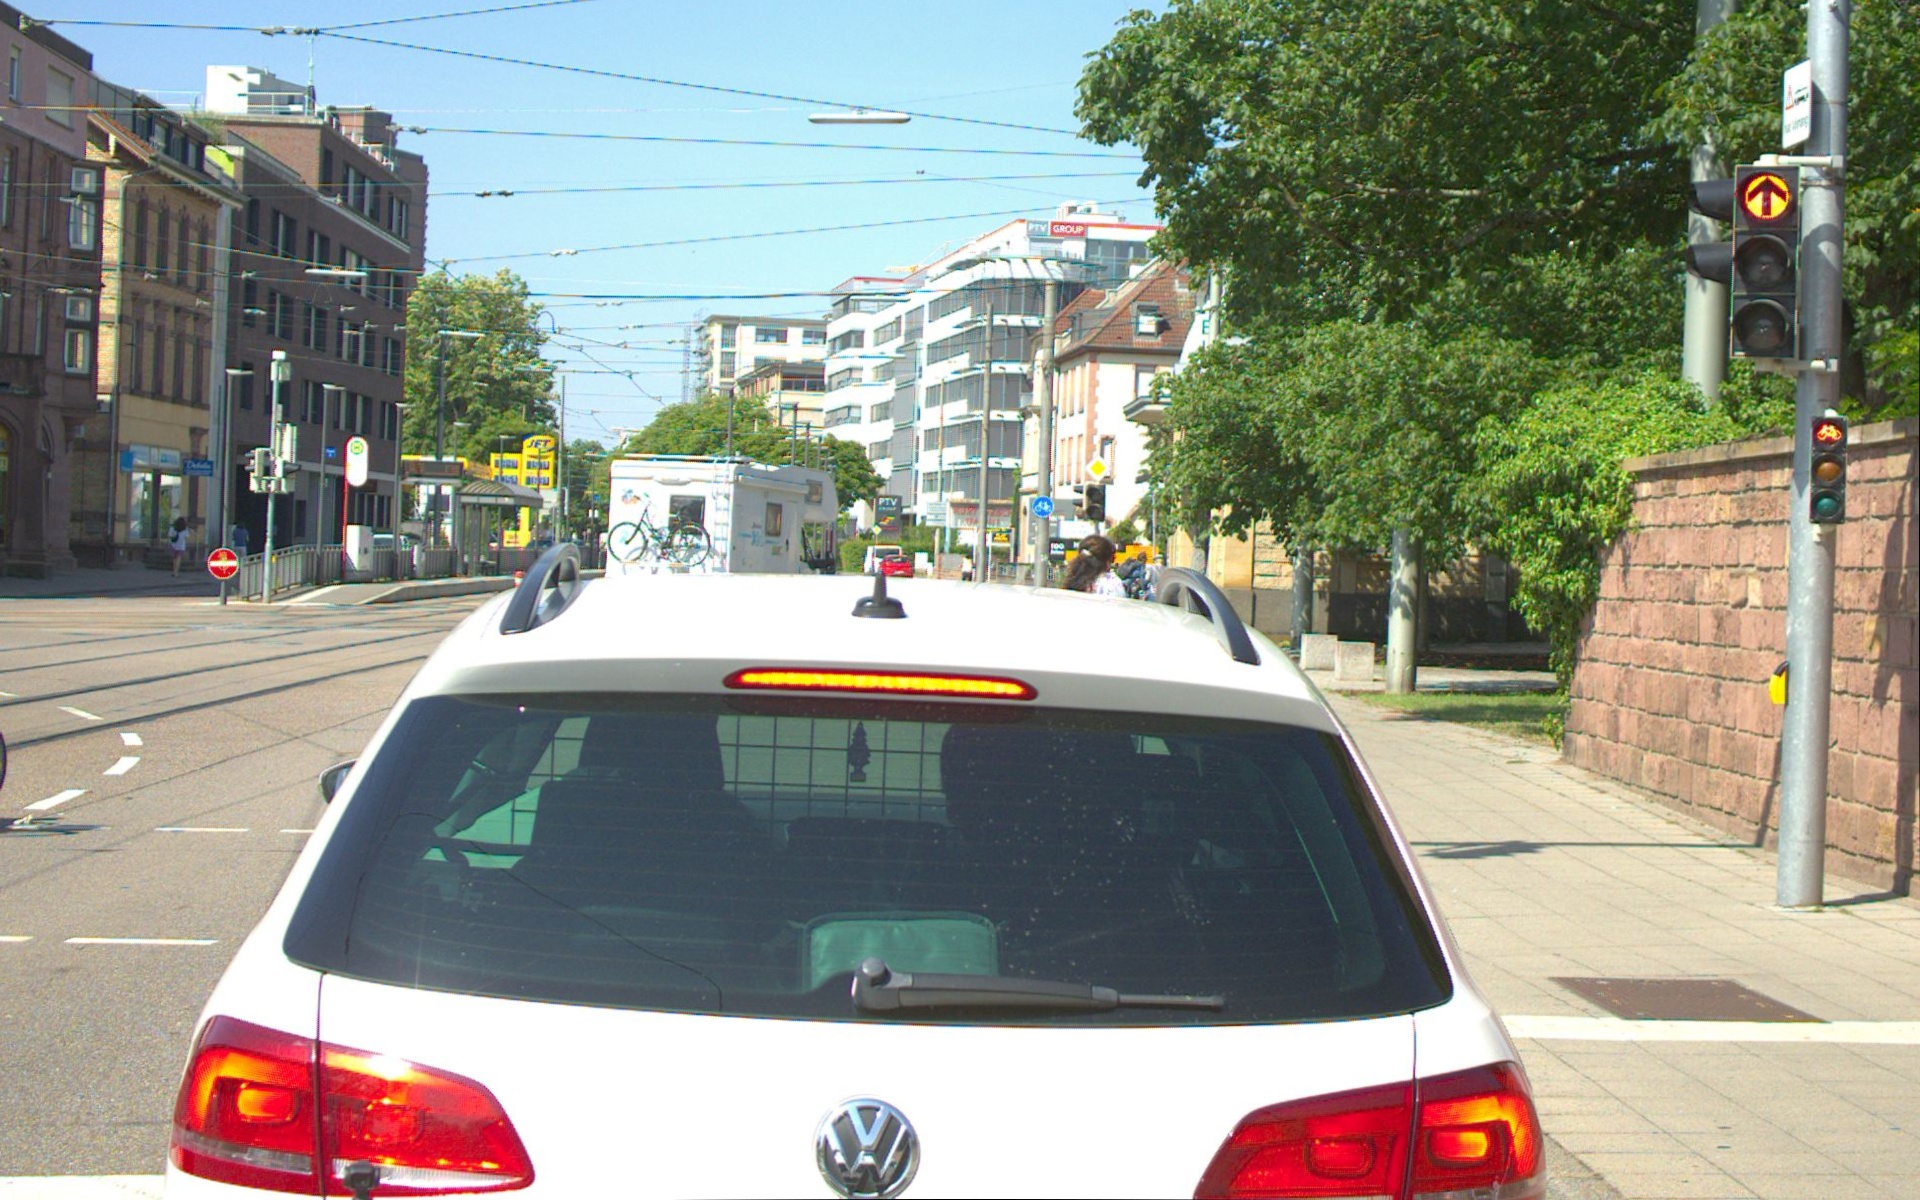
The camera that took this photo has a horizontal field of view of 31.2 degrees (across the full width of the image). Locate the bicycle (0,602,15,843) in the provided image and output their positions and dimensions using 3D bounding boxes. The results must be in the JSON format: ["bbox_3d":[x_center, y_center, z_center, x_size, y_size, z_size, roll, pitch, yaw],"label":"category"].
[{"bbox_3d":[-5.436,0.536,15.894,2.019,1.086,0.710,2,1,-15],"label":"bicycle"}]

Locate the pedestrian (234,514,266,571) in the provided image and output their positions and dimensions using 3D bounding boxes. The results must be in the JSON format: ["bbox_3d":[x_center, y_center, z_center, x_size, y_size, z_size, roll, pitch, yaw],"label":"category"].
[{"bbox_3d":[-21.834,-1.774,105.695,0.861,1.737,0.975,0,0,-6],"label":"pedestrian"}]

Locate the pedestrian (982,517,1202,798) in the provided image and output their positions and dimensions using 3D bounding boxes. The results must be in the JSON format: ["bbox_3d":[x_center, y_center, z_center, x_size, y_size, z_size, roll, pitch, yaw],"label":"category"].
[{"bbox_3d":[0.802,0.338,20.790,0.954,1.645,0.973,0,0,34],"label":"pedestrian"}]

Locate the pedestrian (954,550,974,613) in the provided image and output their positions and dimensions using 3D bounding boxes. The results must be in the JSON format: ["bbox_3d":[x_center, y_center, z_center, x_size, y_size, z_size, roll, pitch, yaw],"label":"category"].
[{"bbox_3d":[0.149,-0.686,127.422,0.690,2.317,1.232,0,0,1],"label":"pedestrian"}]

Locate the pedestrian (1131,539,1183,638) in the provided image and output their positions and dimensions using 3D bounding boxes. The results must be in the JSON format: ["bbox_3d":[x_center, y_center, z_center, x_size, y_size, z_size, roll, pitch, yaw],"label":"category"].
[{"bbox_3d":[3.497,-0.204,60.918,0.862,1.737,0.975,0,0,6],"label":"pedestrian"}]

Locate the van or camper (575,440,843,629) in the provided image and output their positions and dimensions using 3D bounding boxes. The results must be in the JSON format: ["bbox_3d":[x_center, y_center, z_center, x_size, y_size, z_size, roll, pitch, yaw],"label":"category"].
[{"bbox_3d":[-4.232,-1.064,59.153,2.569,3.082,5.697,0,0,19],"label":"van or camper"}]

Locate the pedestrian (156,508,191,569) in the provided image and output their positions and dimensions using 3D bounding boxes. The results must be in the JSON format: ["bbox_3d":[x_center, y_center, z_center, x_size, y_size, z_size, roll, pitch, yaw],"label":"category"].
[{"bbox_3d":[-22.790,-1.778,99.593,0.861,1.737,0.975,0,0,-6],"label":"pedestrian"}]

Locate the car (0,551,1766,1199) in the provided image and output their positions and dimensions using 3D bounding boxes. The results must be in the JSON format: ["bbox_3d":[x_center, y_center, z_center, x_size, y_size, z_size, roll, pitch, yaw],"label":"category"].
[{"bbox_3d":[-0.148,0.677,5.438,1.808,1.443,4.000,2,1,-1],"label":"car"}]
